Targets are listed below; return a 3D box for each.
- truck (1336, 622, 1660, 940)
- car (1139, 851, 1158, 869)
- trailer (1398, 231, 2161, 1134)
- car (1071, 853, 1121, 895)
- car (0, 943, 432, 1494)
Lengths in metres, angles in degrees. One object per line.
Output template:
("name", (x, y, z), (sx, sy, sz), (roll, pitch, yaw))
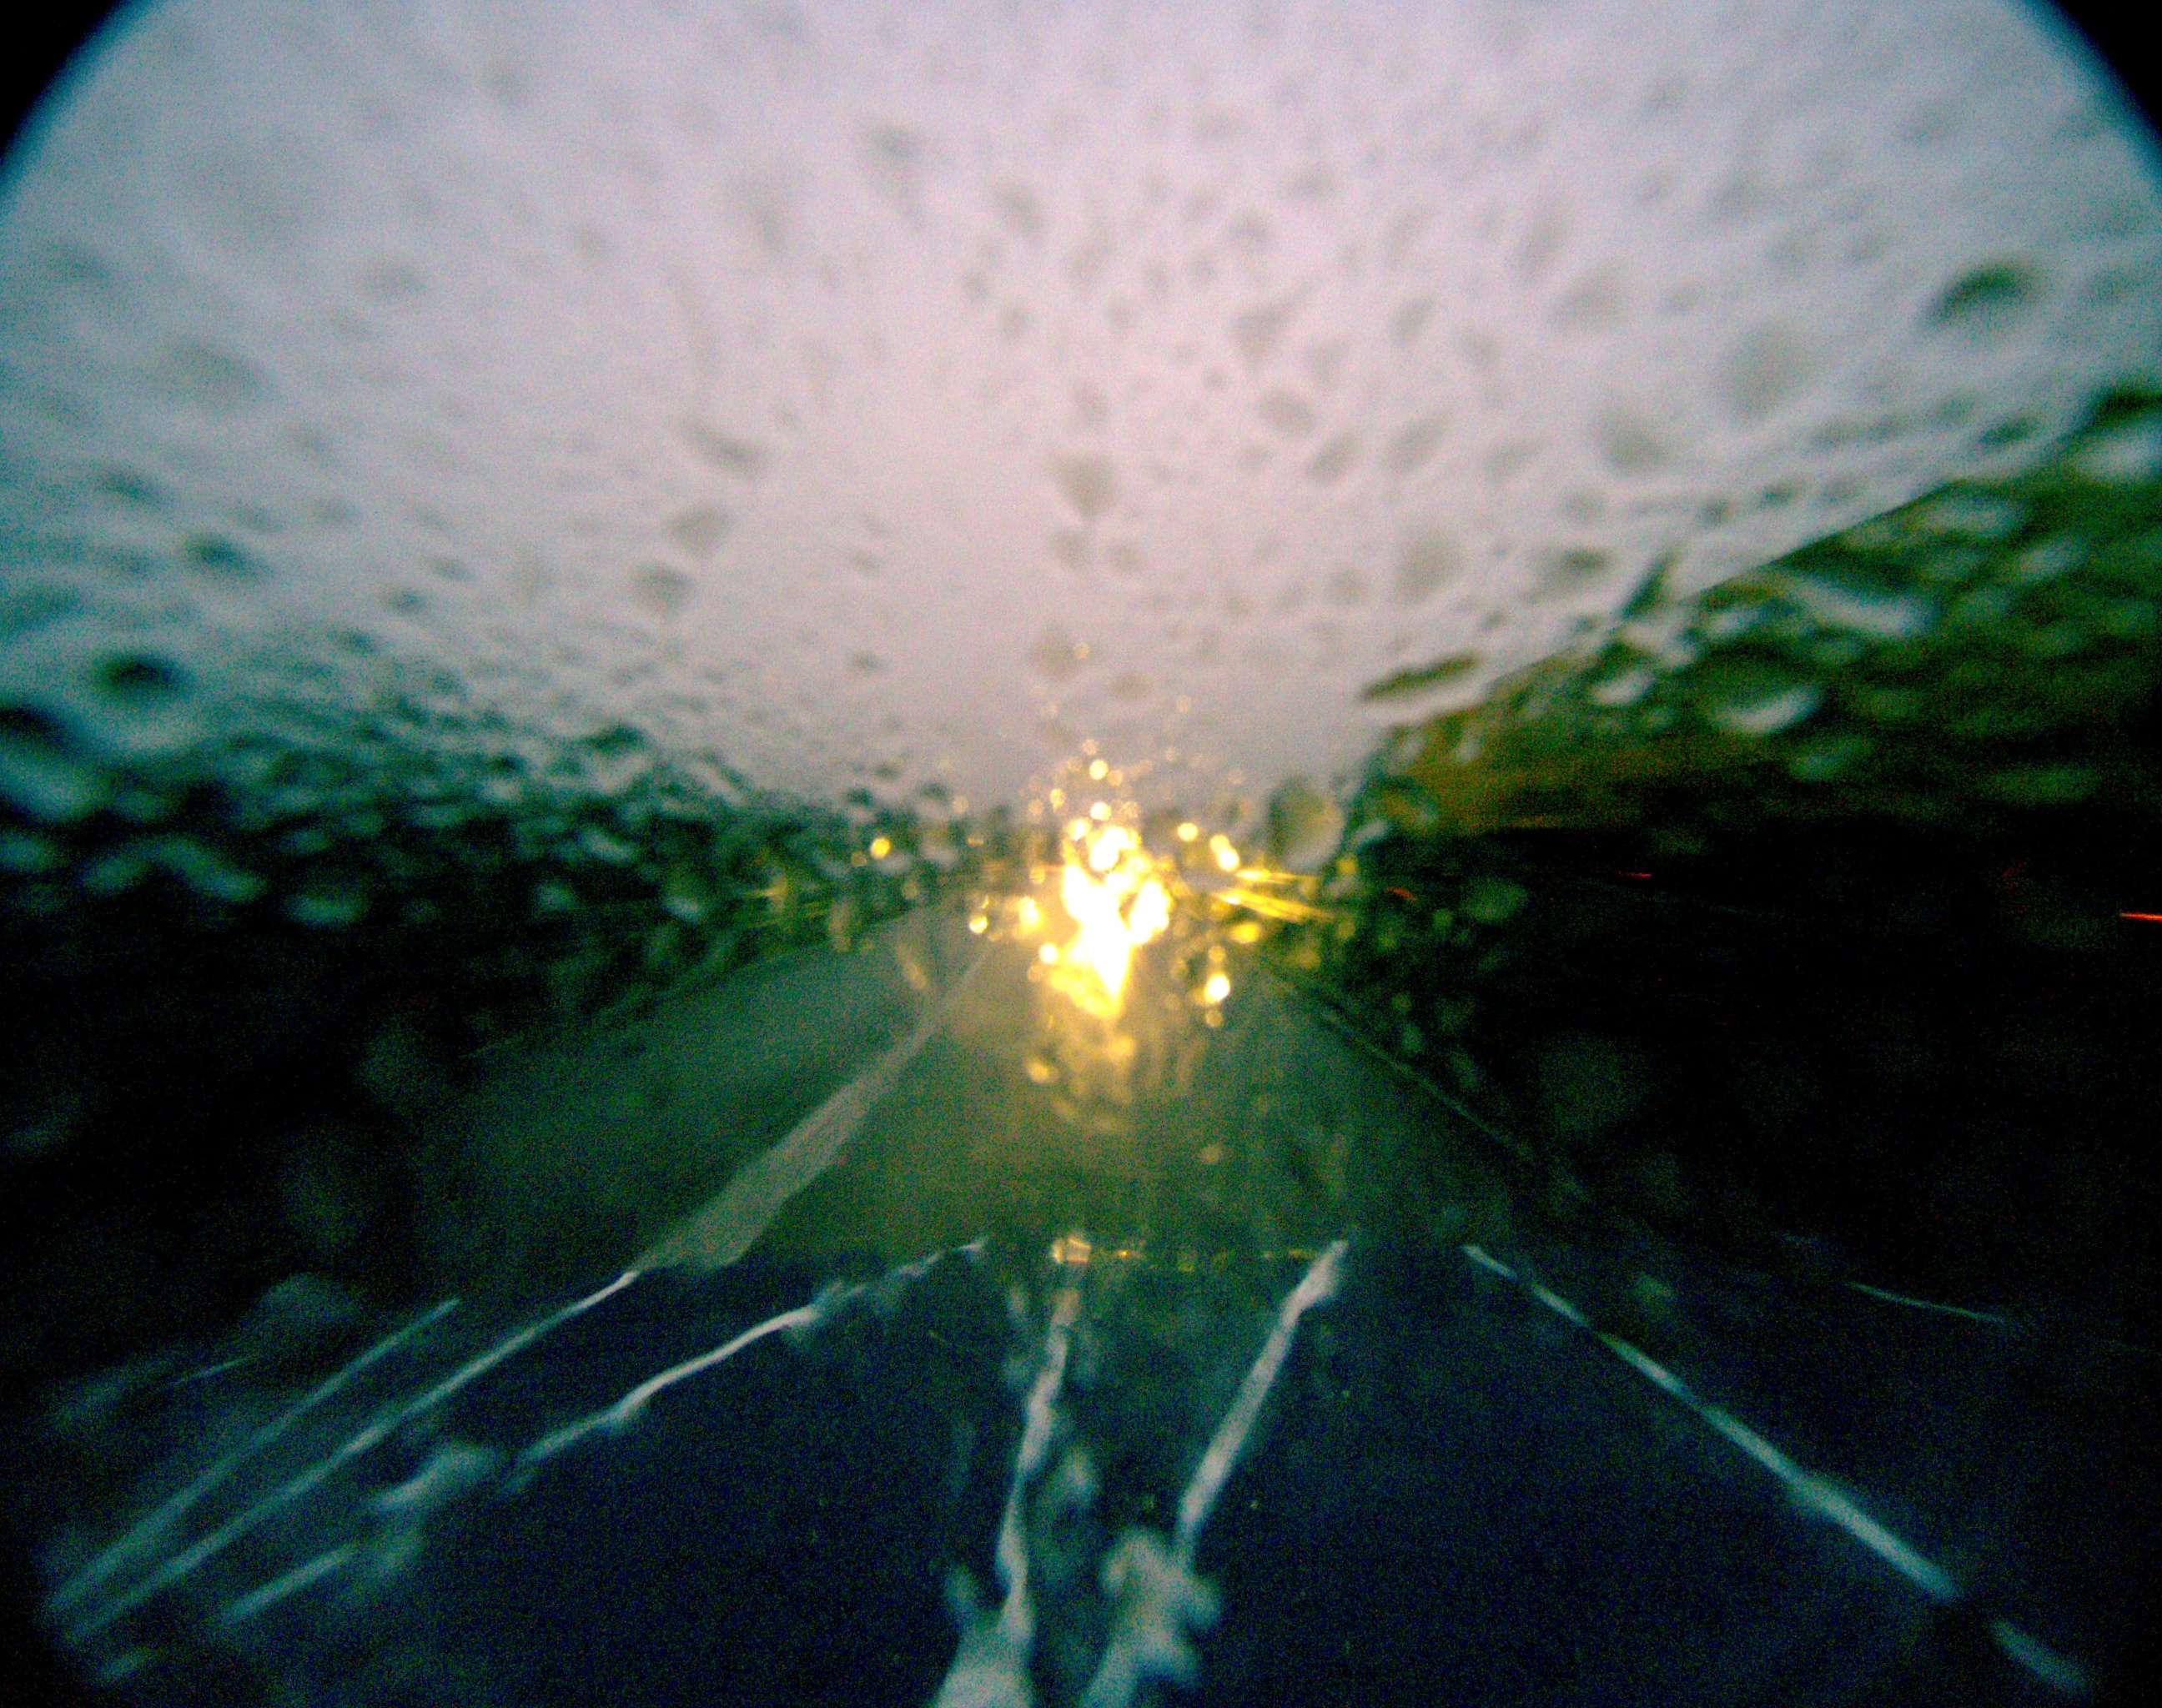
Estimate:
("truck", (7.116, -1.081, 14.184), (2.601, 4.554, 6.357), (-1, 1, 1))
("car", (9.044, 0.808, 102.393), (2.054, 2.250, 5.207), (-1, 1, 0))
("trailer", (6.884, -0.936, 7.073), (2.634, 4.558, 13.324), (-1, 1, 2))
("car", (0.582, 0.751, 31.179), (1.886, 1.514, 3.999), (-1, 1, 0))
("car", (-4.063, 1.174, 1.328), (1.740, 1.406, 4.379), (-4, 0, 6))
